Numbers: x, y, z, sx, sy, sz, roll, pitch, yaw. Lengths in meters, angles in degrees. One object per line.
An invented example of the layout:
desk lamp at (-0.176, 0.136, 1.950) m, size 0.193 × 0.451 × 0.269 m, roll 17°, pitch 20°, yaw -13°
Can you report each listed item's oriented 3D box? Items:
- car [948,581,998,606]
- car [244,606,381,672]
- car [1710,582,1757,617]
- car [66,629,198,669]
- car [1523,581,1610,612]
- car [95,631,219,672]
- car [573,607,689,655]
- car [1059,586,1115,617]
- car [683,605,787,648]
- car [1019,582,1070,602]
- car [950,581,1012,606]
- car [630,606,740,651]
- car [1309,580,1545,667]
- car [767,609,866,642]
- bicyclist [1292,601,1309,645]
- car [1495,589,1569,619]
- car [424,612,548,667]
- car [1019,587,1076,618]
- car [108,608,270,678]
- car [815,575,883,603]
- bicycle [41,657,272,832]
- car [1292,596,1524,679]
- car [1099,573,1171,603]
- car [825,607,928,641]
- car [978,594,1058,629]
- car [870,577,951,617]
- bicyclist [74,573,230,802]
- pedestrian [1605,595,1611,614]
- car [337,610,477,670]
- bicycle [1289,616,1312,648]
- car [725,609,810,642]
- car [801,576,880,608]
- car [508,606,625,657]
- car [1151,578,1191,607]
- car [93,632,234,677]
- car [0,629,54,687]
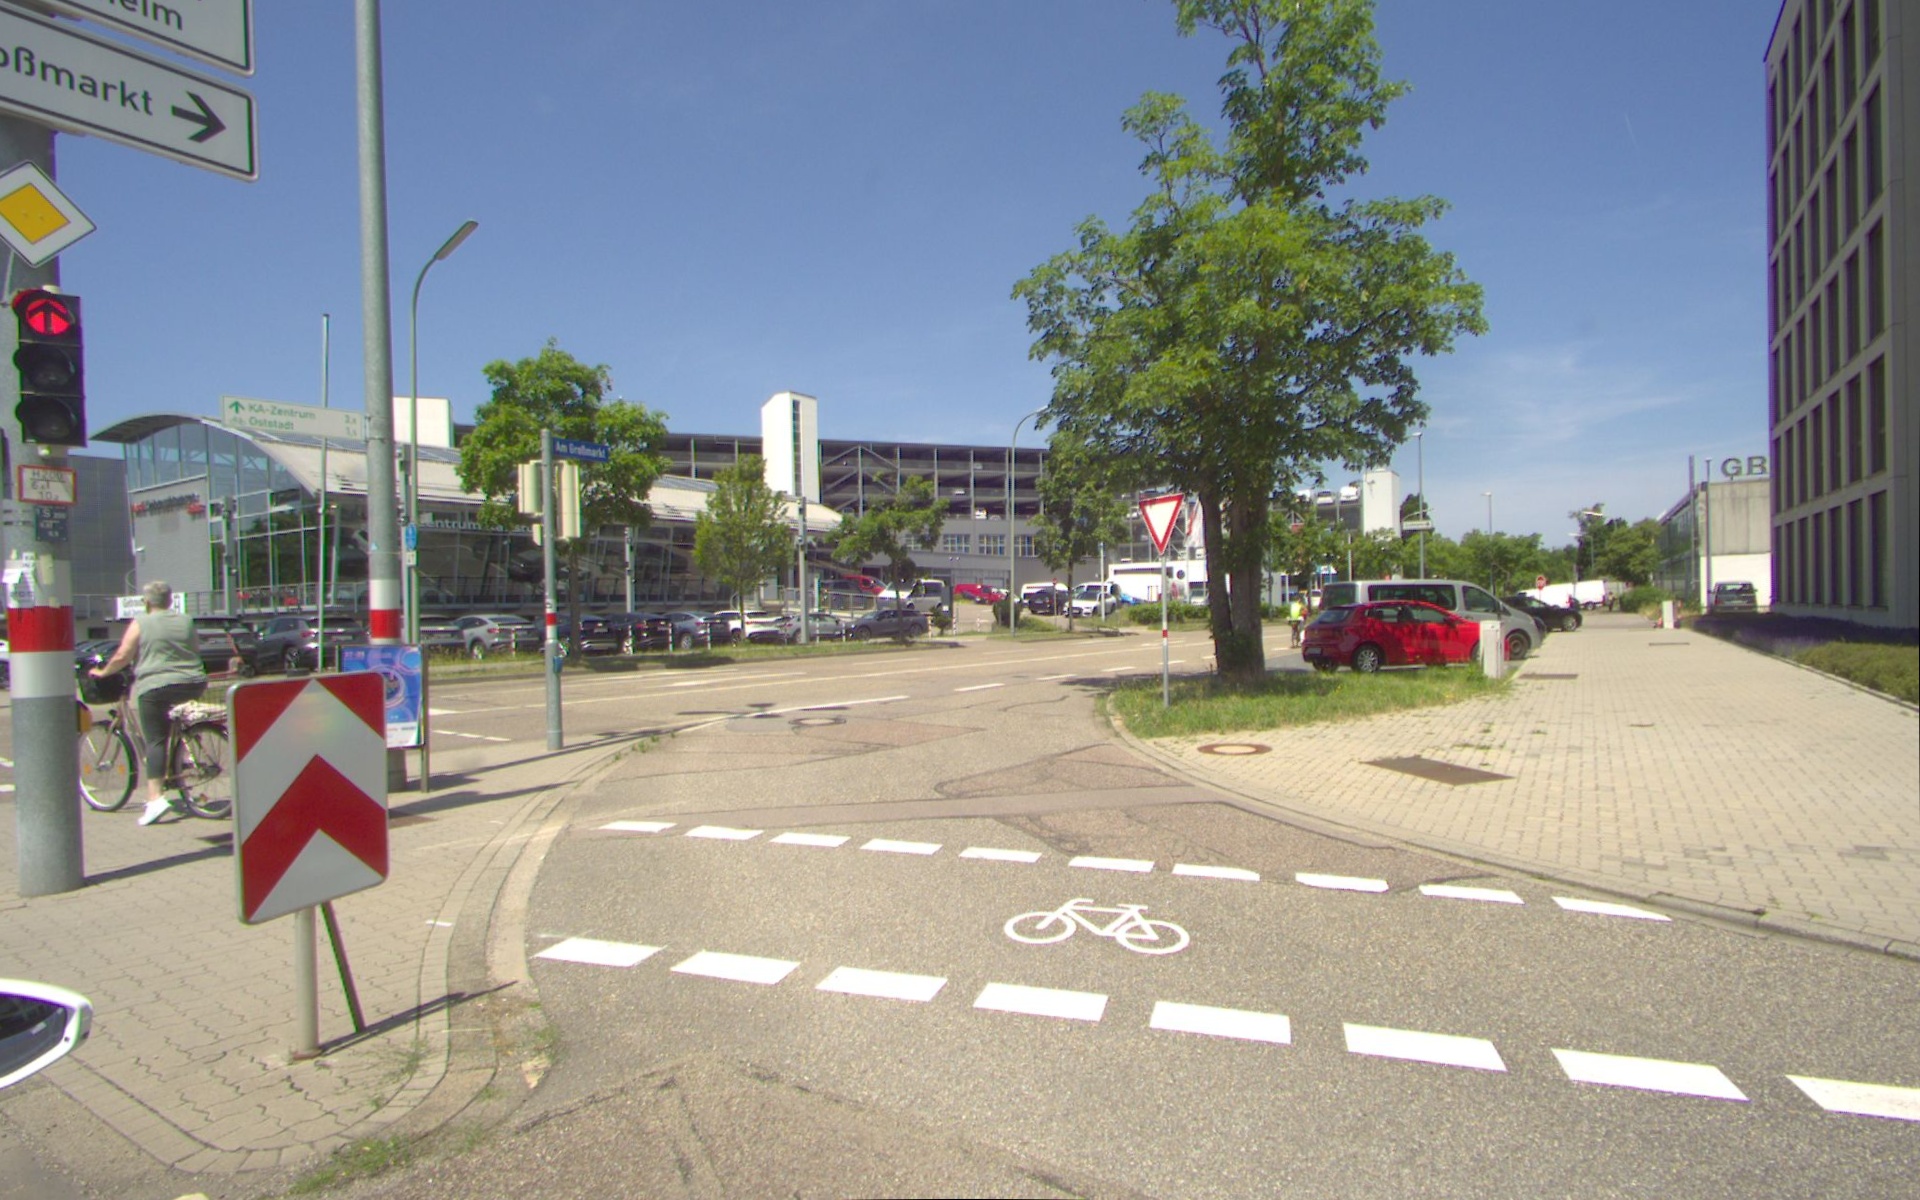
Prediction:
car at (0.988, -0.444, 74.523) m, size 1.859 × 1.728 × 3.977 m, roll -1°, pitch -1°, yaw 33°
car at (-17.848, 1.089, 27.554) m, size 3.946 × 1.675 × 1.840 m, roll -2°, pitch -3°, yaw 35°
car at (42.216, 0.019, 54.731) m, size 1.772 × 1.750 × 3.978 m, roll -1°, pitch -2°, yaw 34°
car at (-34.821, 2.065, 42.227) m, size 1.610 × 1.593 × 3.977 m, roll -1°, pitch -3°, yaw 32°
car at (54.702, -0.283, 90.343) m, size 6.606 × 2.552 × 2.206 m, roll -1°, pitch -2°, yaw 35°
car at (-32.888, 2.118, 41.101) m, size 1.619 × 1.600 × 3.642 m, roll -1°, pitch -3°, yaw 32°
car at (-12.046, 1.174, 36.689) m, size 3.937 × 1.675 × 1.844 m, roll -1°, pitch -3°, yaw 28°
car at (7.650, 0.141, 60.186) m, size 1.970 × 1.727 × 3.983 m, roll -1°, pitch -2°, yaw 30°
car at (-9.247, 1.131, 41.162) m, size 3.937 × 1.675 × 1.844 m, roll -1°, pitch -3°, yaw 28°
car at (7.804, -0.737, 92.323) m, size 4.294 × 1.674 × 1.904 m, roll -1°, pitch 0°, yaw 31°
car at (1.654, -0.489, 78.007) m, size 4.525 × 1.821 × 1.903 m, roll -1°, pitch 0°, yaw 34°
car at (-10.687, 1.142, 38.918) m, size 3.937 × 1.675 × 1.844 m, roll -1°, pitch -3°, yaw 28°
car at (10.862, 0.515, 23.380) m, size 4.841 × 1.911 × 1.918 m, roll 0°, pitch 0°, yaw -12°
car at (-7.097, 1.253, 49.699) m, size 4.527 × 1.491 × 1.902 m, roll -1°, pitch 0°, yaw -34°
bicyclist at (11.900, 0.800, 35.007) m, size 0.449 × 1.490 × 0.714 m, roll -1°, pitch 1°, yaw 29°
car at (41.494, 0.307, 72.682) m, size 4.513 × 2.039 × 1.990 m, roll -1°, pitch -2°, yaw 33°
car at (-15.062, 1.205, 31.797) m, size 3.758 × 1.637 × 1.635 m, roll 0°, pitch 0°, yaw 28°
car at (5.403, 0.186, 61.268) m, size 1.970 × 1.727 × 3.983 m, roll -1°, pitch -2°, yaw 30°
car at (-19.531, 1.112, 25.328) m, size 4.442 × 1.578 × 1.863 m, roll -3°, pitch 0°, yaw 33°
car at (-7.308, -0.711, 66.028) m, size 4.082 × 1.745 × 1.907 m, roll -1°, pitch 0°, yaw 25°
bicycle at (-6.103, 1.037, 7.587) m, size 1.864 × 1.148 × 0.628 m, roll 0°, pitch -1°, yaw 26°
car at (8.959, 0.729, 20.161) m, size 3.923 × 1.451 × 1.699 m, roll -2°, pitch -1°, yaw -7°
car at (12.008, -0.777, 68.852) m, size 4.521 × 1.912 × 1.904 m, roll -1°, pitch 0°, yaw 31°
car at (-3.943, 1.129, 47.648) m, size 4.554 × 1.491 × 1.839 m, roll -1°, pitch 0°, yaw -34°
car at (2.968, 0.556, 50.318) m, size 1.888 × 1.717 × 4.560 m, roll -1°, pitch 0°, yaw 35°
car at (-2.586, -0.158, 54.114) m, size 1.885 × 1.992 × 5.228 m, roll -1°, pitch 0°, yaw 29°
bicyclist at (-6.122, 0.641, 7.600) m, size 0.812 × 1.626 × 0.628 m, roll -1°, pitch -1°, yaw 26°
pedestrian at (52.785, 0.348, 81.533) m, size 0.399 × 1.580 × 0.546 m, roll -1°, pitch 1°, yaw 33°
car at (-16.565, 1.208, 29.983) m, size 3.937 × 1.675 × 1.844 m, roll -1°, pitch -3°, yaw 28°
bicycle at (11.914, 1.104, 35.014) m, size 0.462 × 1.079 × 1.782 m, roll -1°, pitch 0°, yaw 29°
car at (-9.947, 1.278, 51.708) m, size 3.938 × 1.591 × 1.842 m, roll -1°, pitch 0°, yaw -28°
car at (-6.703, -0.425, 56.683) m, size 1.888 × 1.730 × 4.560 m, roll -1°, pitch 0°, yaw 35°
car at (-13.433, 1.081, 34.163) m, size 3.851 × 1.676 × 1.627 m, roll -1°, pitch -1°, yaw 28°
car at (16.352, -0.570, 77.625) m, size 1.812 × 2.039 × 3.981 m, roll -1°, pitch -2°, yaw 31°
car at (-30.934, 2.096, 39.007) m, size 1.633 × 1.642 × 3.980 m, roll -1°, pitch -3°, yaw 32°
car at (-25.129, 1.403, 24.128) m, size 1.843 × 1.407 × 4.583 m, roll -2°, pitch -3°, yaw 34°
